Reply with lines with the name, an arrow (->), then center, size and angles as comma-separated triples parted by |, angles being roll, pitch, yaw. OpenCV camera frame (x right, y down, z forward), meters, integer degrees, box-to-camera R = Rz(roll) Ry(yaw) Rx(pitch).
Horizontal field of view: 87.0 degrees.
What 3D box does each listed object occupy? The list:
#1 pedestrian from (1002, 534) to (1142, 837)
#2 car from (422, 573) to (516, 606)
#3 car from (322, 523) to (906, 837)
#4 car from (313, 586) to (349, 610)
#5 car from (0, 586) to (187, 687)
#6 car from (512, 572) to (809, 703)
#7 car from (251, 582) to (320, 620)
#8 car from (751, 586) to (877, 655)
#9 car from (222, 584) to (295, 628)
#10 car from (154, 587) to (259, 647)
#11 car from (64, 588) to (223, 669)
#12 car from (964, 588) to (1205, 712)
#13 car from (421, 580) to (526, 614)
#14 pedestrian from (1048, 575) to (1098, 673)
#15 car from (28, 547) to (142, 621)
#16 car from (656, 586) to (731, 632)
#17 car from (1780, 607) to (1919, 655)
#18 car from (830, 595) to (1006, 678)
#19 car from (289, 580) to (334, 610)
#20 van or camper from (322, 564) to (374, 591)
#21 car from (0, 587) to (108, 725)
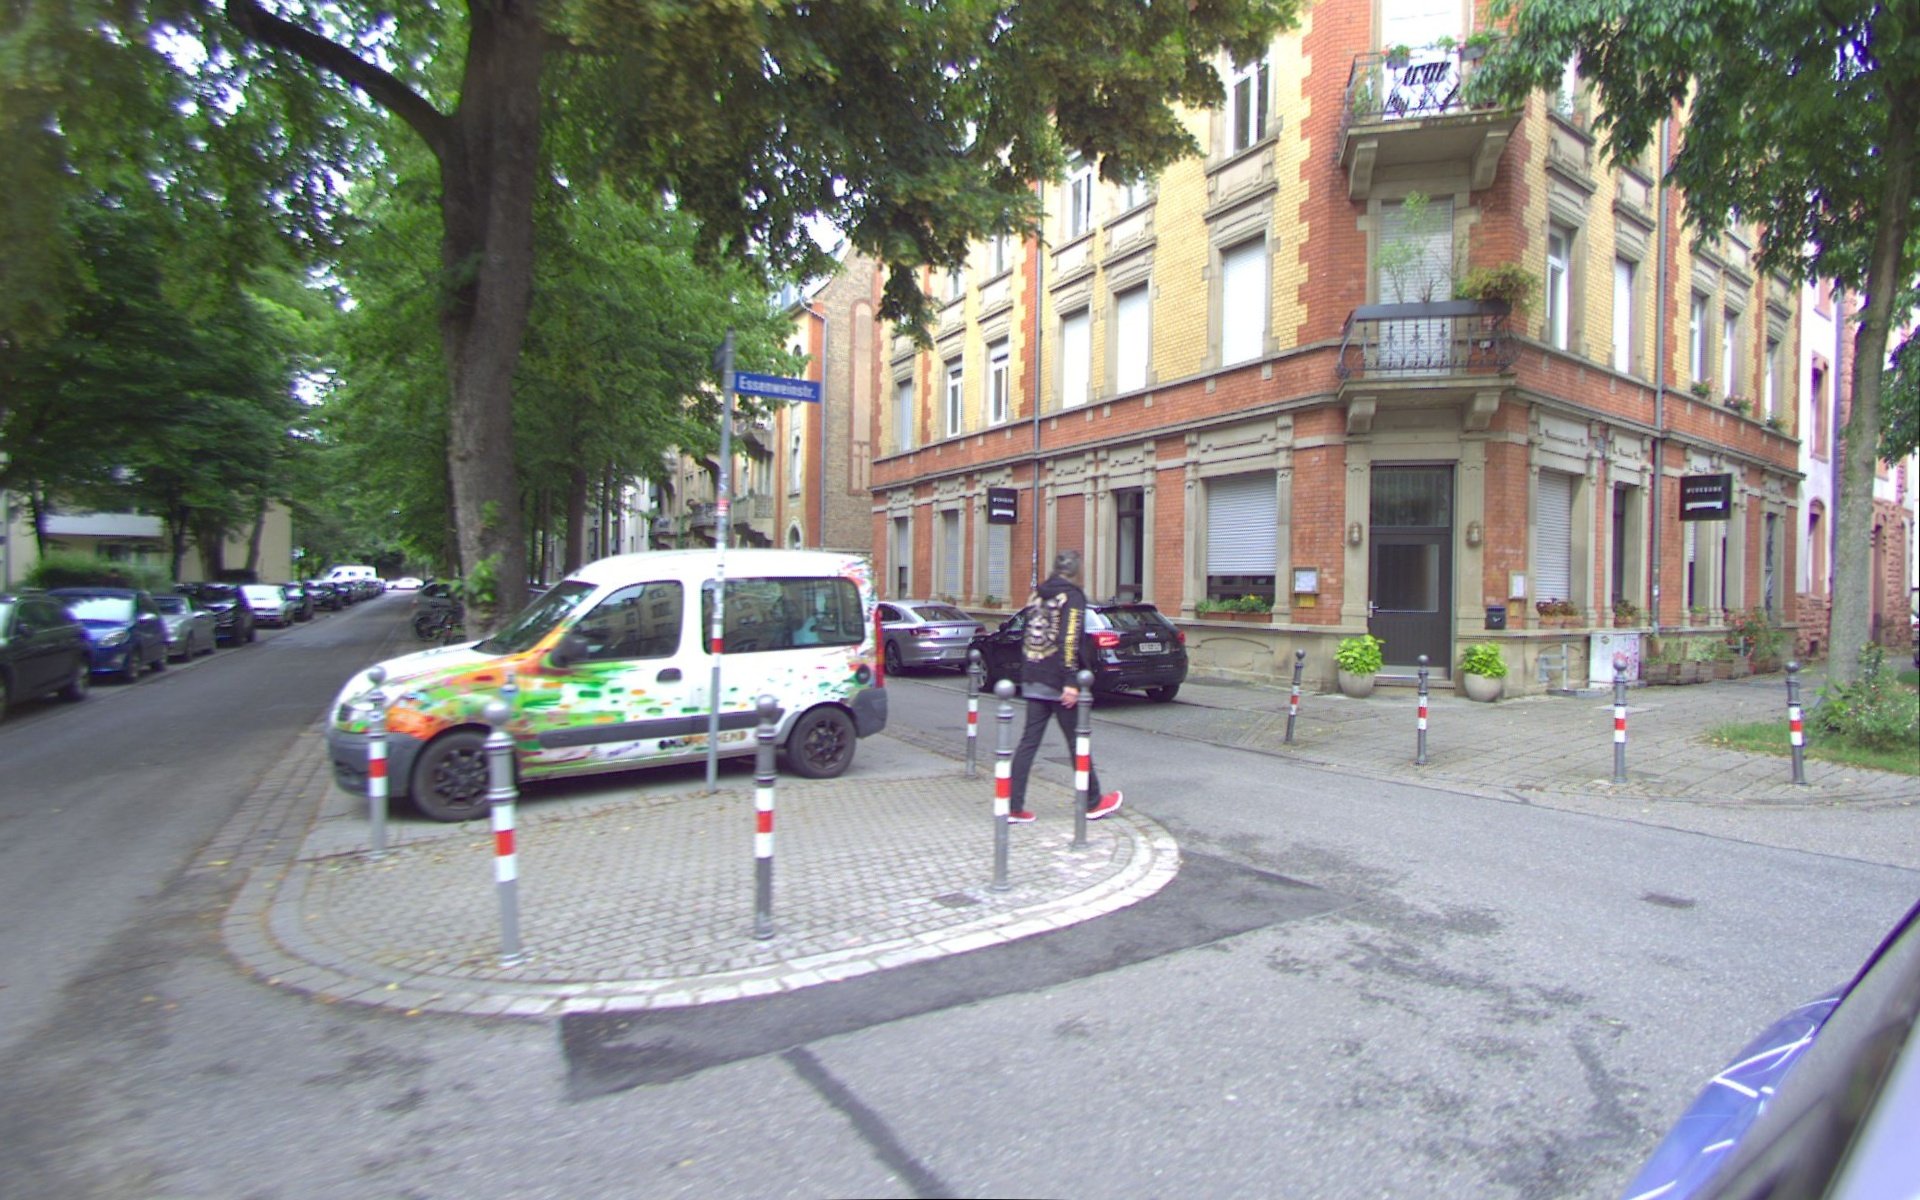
pedestrian -> 0.716, 0.512, 6.560 | 0.500, 1.820, 0.781 | 1, 0, -35
car -> -24.457, -0.524, 50.446 | 3.933, 1.550, 1.735 | 1, 1, 8
car -> -2.557, 0.453, 7.812 | 3.924, 1.842, 1.776 | 0, 1, -35
car -> -37.417, -0.102, 60.248 | 1.478, 1.386, 3.526 | -1, 0, -26
car -> -14.323, 0.512, 16.786 | 1.598, 1.446, 3.714 | 1, 1, -25
car -> -4.251, 0.462, 14.343 | 3.911, 1.601, 1.670 | 1, 0, 25
car -> -25.980, 0.013, 39.093 | 1.625, 1.358, 3.534 | 0, 1, -24
car -> -3.852, 0.440, 26.084 | 1.959, 1.552, 4.339 | -2, 2, -26
car -> -23.755, 0.180, 34.370 | 1.478, 1.386, 3.526 | -1, 0, -26
car -> -19.050, 0.399, 25.711 | 1.478, 1.386, 3.526 | -1, 0, -26
car -> -16.632, 0.515, 20.829 | 1.740, 1.436, 4.006 | 1, 1, -27
car -> 1.737, 0.634, 15.330 | 1.627, 1.559, 3.839 | -1, 2, -30
car -> -21.705, -0.156, 45.242 | 3.933, 1.407, 1.735 | 1, 1, 8
pedestrian -> 2.034, 0.417, 18.295 | 0.551, 1.728, 0.750 | 1, 0, -26
car -> -25.821, -0.478, 30.024 | 1.961, 2.039, 4.003 | 0, 1, -32
car -> -9.758, 0.280, 36.858 | 1.807, 1.514, 4.281 | -2, 2, -26
car -> 31.051, 1.021, 34.926 | 1.580, 1.472, 3.998 | 0, 1, -37
car -> -0.974, 0.632, 20.378 | 1.959, 1.371, 4.339 | -2, 2, -26
car -> -32.310, -0.244, 50.473 | 1.478, 1.386, 3.526 | -1, 0, -26
van or camper -> -71.725, -2.561, 118.556 | 4.953, 3.073, 1.997 | 0, 1, -40
car -> -11.814, 0.601, 11.774 | 1.867, 1.446, 4.189 | 1, 1, -25
